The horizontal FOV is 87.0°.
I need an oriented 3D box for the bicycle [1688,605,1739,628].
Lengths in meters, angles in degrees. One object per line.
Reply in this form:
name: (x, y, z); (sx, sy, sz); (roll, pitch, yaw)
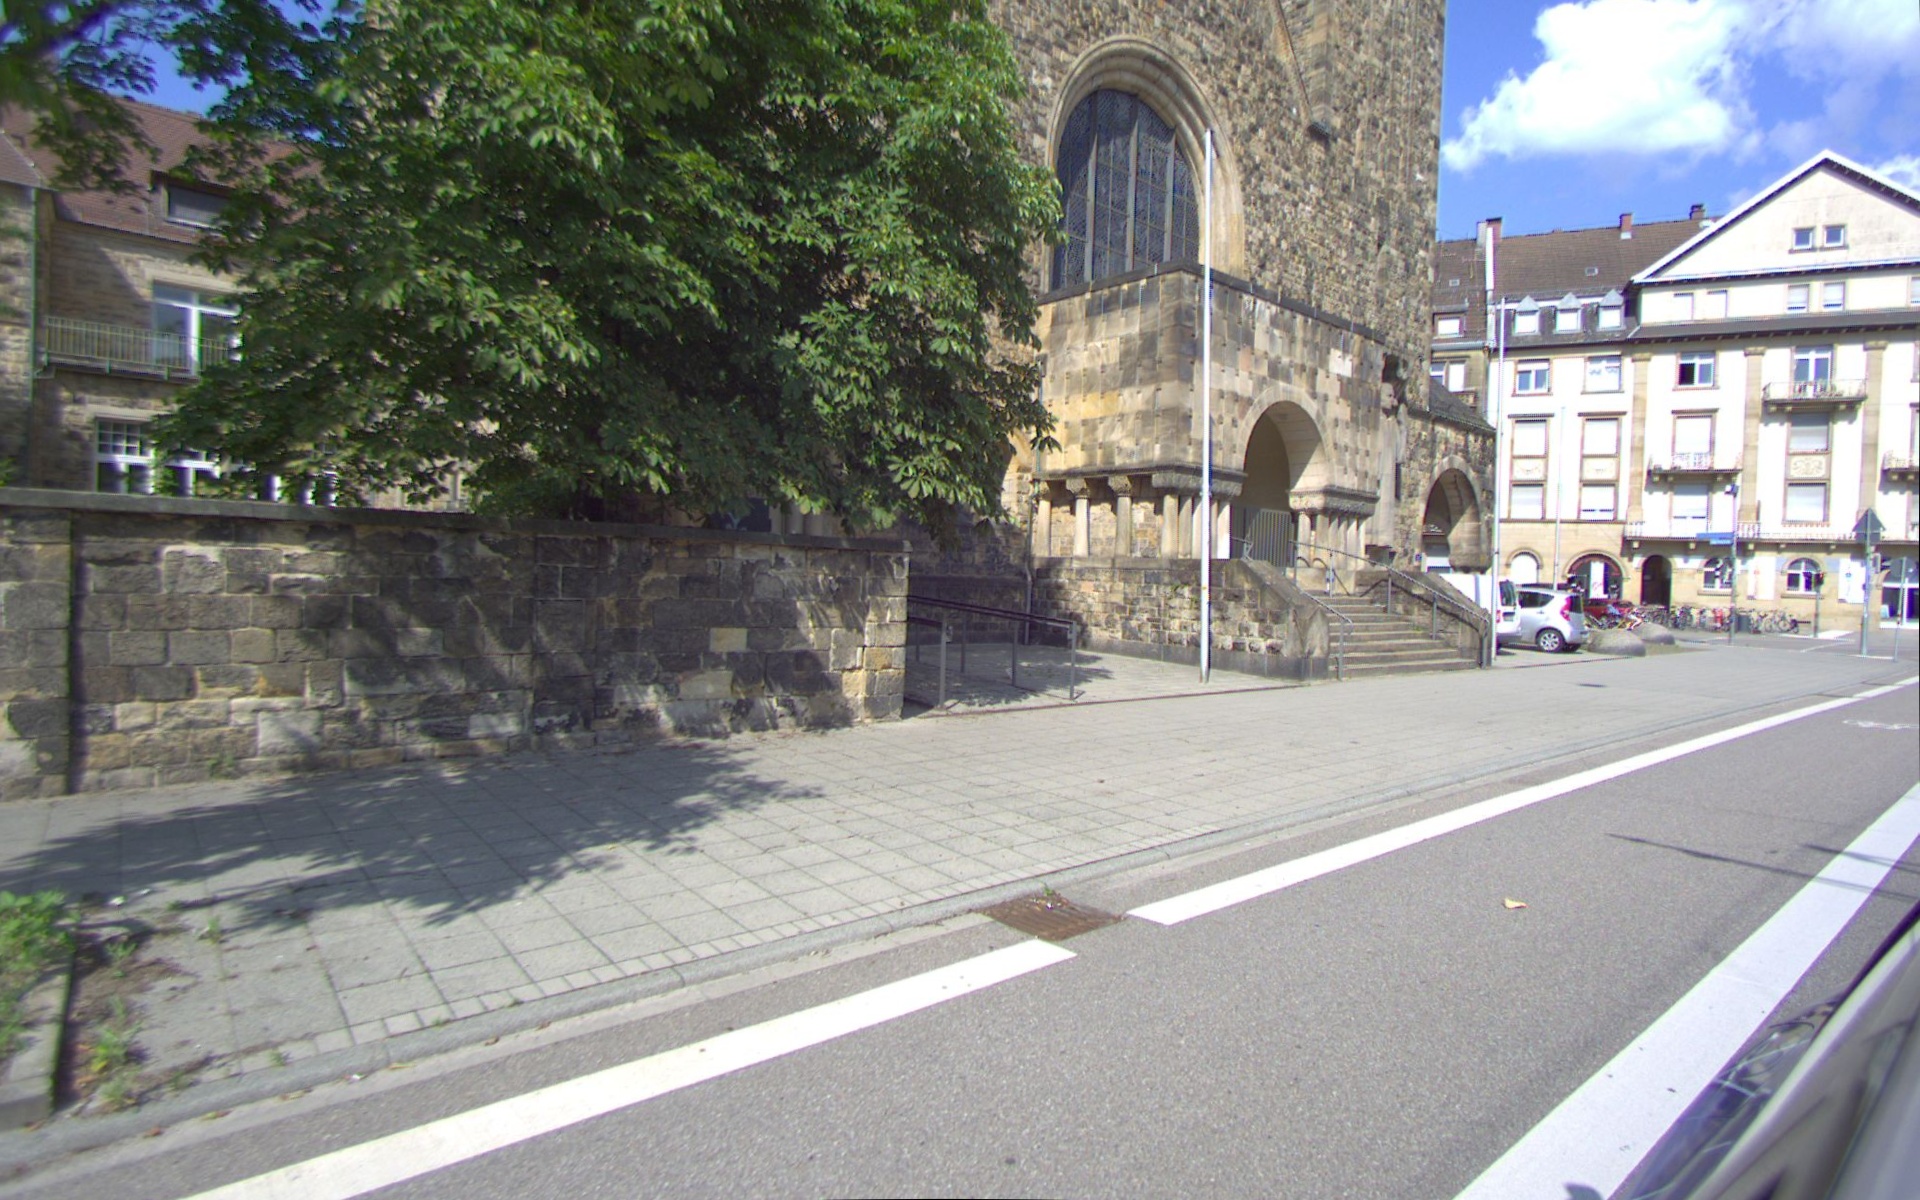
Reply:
bicycle: (36.354, 0.784, 48.831); (1.896, 1.030, 0.539); (1, 3, 9)

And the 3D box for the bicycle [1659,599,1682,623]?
bicycle: (36.175, 0.546, 51.528); (0.534, 1.030, 1.914); (2, 4, 23)

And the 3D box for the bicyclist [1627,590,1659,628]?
bicyclist: (27.969, 0.373, 41.449); (0.911, 1.523, 0.648); (2, 0, 21)

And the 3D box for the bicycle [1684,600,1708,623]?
bicycle: (37.323, 0.562, 51.320); (0.534, 1.030, 1.914); (2, 4, 23)

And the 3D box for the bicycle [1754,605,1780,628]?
bicycle: (39.021, 0.794, 48.932); (1.844, 1.030, 0.602); (-2, 4, -40)

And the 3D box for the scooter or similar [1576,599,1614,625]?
scooter or similar: (26.222, 0.493, 41.814); (1.117, 0.989, 0.884); (2, 1, 21)

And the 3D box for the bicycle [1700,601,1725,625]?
bicycle: (37.952, 0.639, 51.056); (0.534, 1.030, 1.914); (2, 4, 23)

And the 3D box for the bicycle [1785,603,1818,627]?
bicycle: (41.057, 0.739, 49.387); (0.602, 1.030, 1.865); (2, 4, 21)

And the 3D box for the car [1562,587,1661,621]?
car: (33.249, 0.175, 51.760); (1.927, 1.458, 4.010); (0, 4, -12)

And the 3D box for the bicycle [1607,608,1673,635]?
bicycle: (27.847, 0.861, 41.498); (2.109, 1.001, 0.648); (2, 1, 21)

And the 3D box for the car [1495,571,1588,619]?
car: (30.583, -0.284, 53.342); (1.927, 2.106, 4.013); (0, 6, -12)

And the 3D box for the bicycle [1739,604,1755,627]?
bicycle: (38.512, 0.750, 49.528); (0.537, 1.030, 1.903); (3, 4, 38)

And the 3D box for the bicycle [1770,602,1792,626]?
bicycle: (40.384, 0.695, 49.785); (0.606, 1.030, 1.855); (3, 4, 33)

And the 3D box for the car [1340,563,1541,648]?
car: (11.658, 0.087, 24.750); (1.832, 1.846, 4.008); (1, 2, -42)

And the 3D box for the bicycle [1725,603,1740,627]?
bicycle: (37.941, 0.721, 49.697); (0.537, 1.030, 1.903); (3, 5, 38)

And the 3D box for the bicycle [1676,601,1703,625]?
bicycle: (36.374, 0.630, 50.460); (0.533, 1.030, 1.917); (2, 4, 20)

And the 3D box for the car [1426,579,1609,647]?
car: (14.496, 0.293, 26.453); (1.766, 1.566, 3.773); (1, 2, -41)
